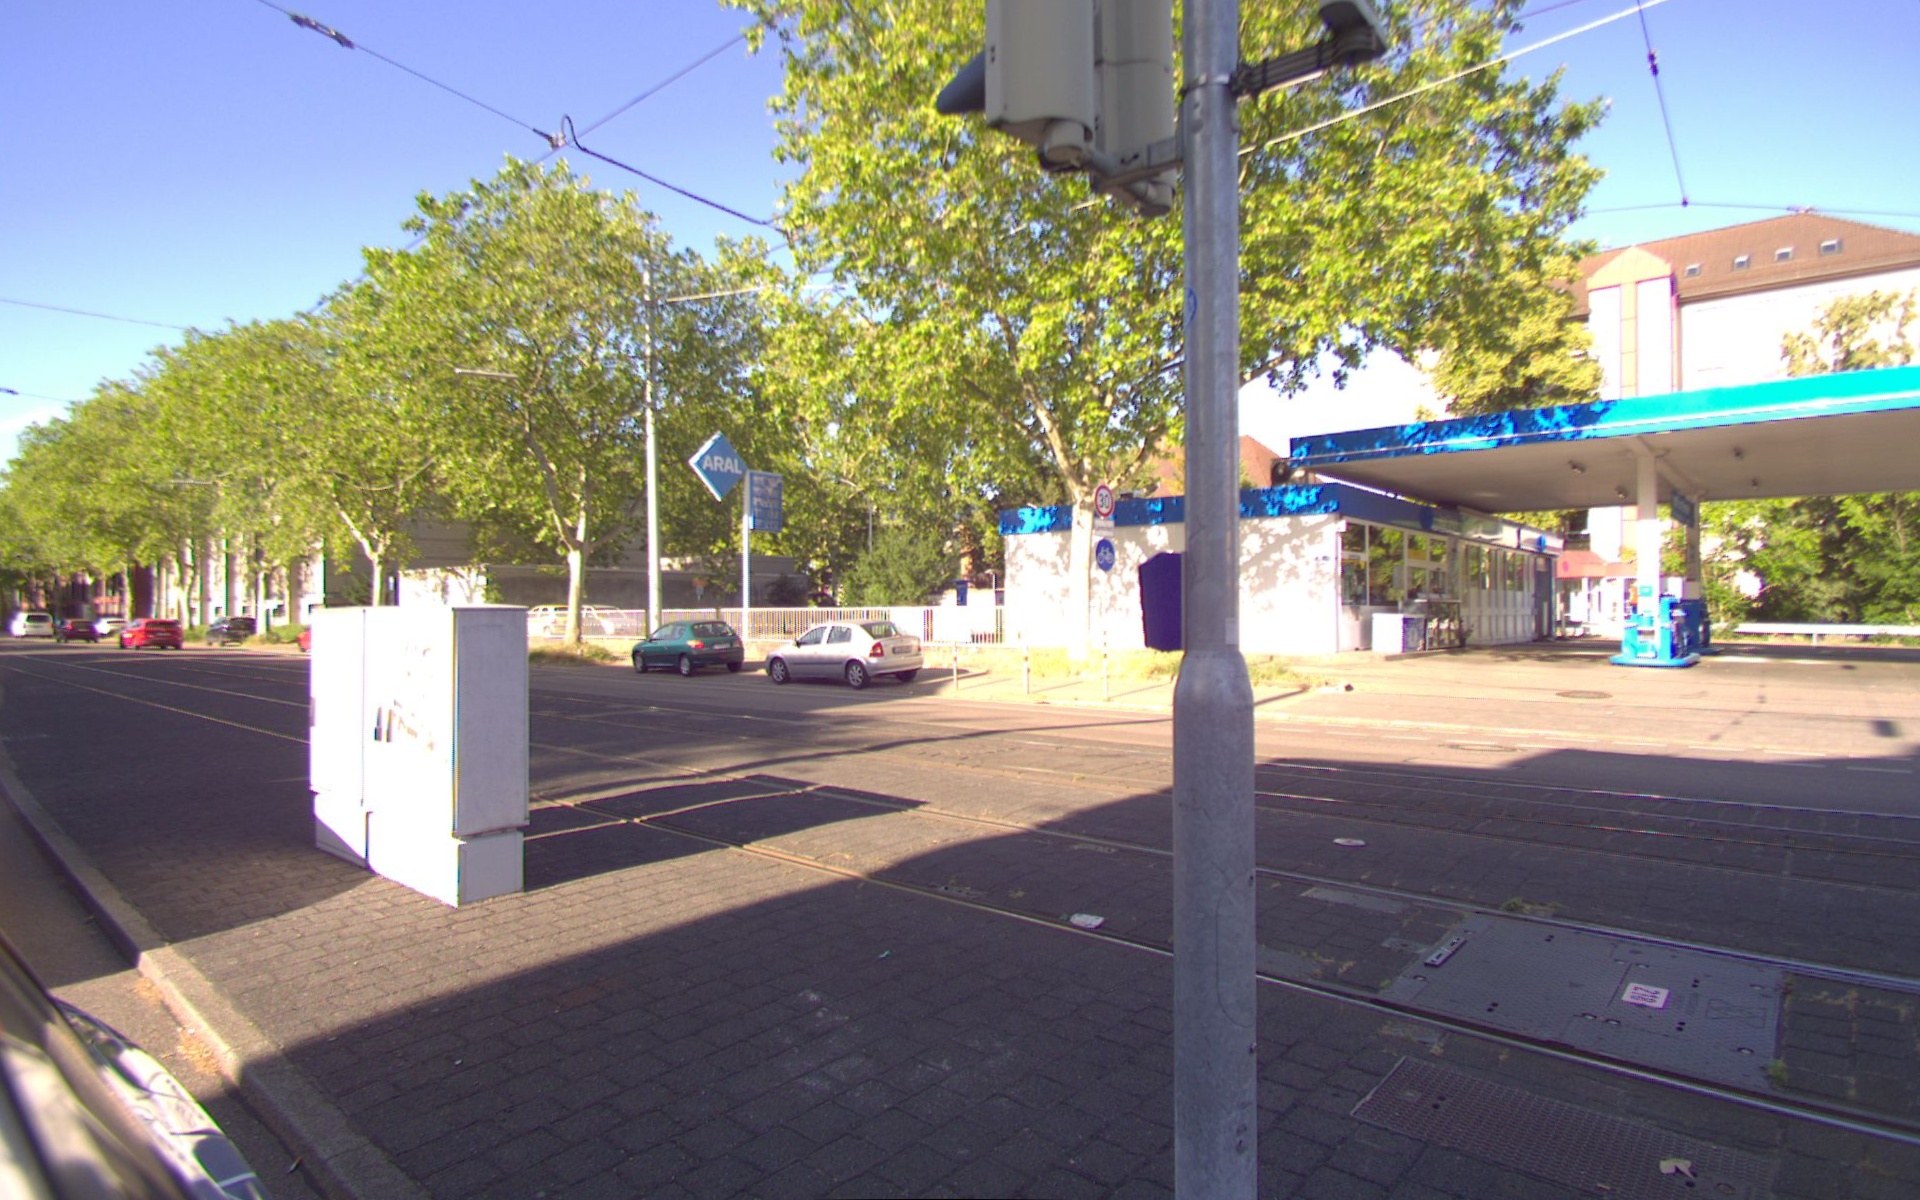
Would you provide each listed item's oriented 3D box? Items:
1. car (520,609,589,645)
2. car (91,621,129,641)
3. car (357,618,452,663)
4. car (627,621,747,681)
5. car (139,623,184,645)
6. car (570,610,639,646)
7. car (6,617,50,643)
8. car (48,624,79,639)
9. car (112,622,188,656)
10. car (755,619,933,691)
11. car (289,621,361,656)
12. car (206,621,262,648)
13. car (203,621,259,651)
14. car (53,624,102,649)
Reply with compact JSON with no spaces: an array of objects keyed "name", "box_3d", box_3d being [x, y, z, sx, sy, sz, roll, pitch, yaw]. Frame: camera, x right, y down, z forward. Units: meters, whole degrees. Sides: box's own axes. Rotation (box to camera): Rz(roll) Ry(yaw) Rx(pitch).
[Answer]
[{"name":"car","box_3d":[-16.827,1.100,41.965,3.151,1.431,1.525,-1,0,44]},{"name":"car","box_3d":[-66.813,2.421,79.544,3.998,1.569,1.678,-1,-2,41]},{"name":"car","box_3d":[-22.139,1.570,40.241,4.431,1.534,1.731,-1,3,40]},{"name":"car","box_3d":[-7.256,1.304,26.834,3.253,1.431,1.526,-1,0,41]},{"name":"car","box_3d":[-53.811,2.296,68.197,3.998,1.420,1.678,-1,-2,41]},{"name":"car","box_3d":[-15.145,1.158,43.097,3.151,1.431,1.525,-1,0,44]},{"name":"car","box_3d":[-70.379,2.254,76.373,4.390,1.860,1.827,-1,-2,39]},{"name":"car","box_3d":[-85.184,2.981,96.161,3.998,1.420,1.678,-1,-2,41]},{"name":"car","box_3d":[-38.265,1.830,47.787,4.761,1.534,1.887,-1,-2,40]},{"name":"car","box_3d":[-2.651,1.157,22.621,3.998,1.431,1.709,-1,0,41]},{"name":"car","box_3d":[-29.093,1.743,46.318,3.998,1.479,1.678,0,-1,41]},{"name":"car","box_3d":[-40.601,1.893,56.573,3.998,1.420,1.678,-1,-2,41]},{"name":"car","box_3d":[-40.736,1.985,56.533,3.998,1.587,1.678,-1,-2,41]},{"name":"car","box_3d":[-54.817,2.271,62.839,3.998,1.431,1.678,-1,-5,41]}]
